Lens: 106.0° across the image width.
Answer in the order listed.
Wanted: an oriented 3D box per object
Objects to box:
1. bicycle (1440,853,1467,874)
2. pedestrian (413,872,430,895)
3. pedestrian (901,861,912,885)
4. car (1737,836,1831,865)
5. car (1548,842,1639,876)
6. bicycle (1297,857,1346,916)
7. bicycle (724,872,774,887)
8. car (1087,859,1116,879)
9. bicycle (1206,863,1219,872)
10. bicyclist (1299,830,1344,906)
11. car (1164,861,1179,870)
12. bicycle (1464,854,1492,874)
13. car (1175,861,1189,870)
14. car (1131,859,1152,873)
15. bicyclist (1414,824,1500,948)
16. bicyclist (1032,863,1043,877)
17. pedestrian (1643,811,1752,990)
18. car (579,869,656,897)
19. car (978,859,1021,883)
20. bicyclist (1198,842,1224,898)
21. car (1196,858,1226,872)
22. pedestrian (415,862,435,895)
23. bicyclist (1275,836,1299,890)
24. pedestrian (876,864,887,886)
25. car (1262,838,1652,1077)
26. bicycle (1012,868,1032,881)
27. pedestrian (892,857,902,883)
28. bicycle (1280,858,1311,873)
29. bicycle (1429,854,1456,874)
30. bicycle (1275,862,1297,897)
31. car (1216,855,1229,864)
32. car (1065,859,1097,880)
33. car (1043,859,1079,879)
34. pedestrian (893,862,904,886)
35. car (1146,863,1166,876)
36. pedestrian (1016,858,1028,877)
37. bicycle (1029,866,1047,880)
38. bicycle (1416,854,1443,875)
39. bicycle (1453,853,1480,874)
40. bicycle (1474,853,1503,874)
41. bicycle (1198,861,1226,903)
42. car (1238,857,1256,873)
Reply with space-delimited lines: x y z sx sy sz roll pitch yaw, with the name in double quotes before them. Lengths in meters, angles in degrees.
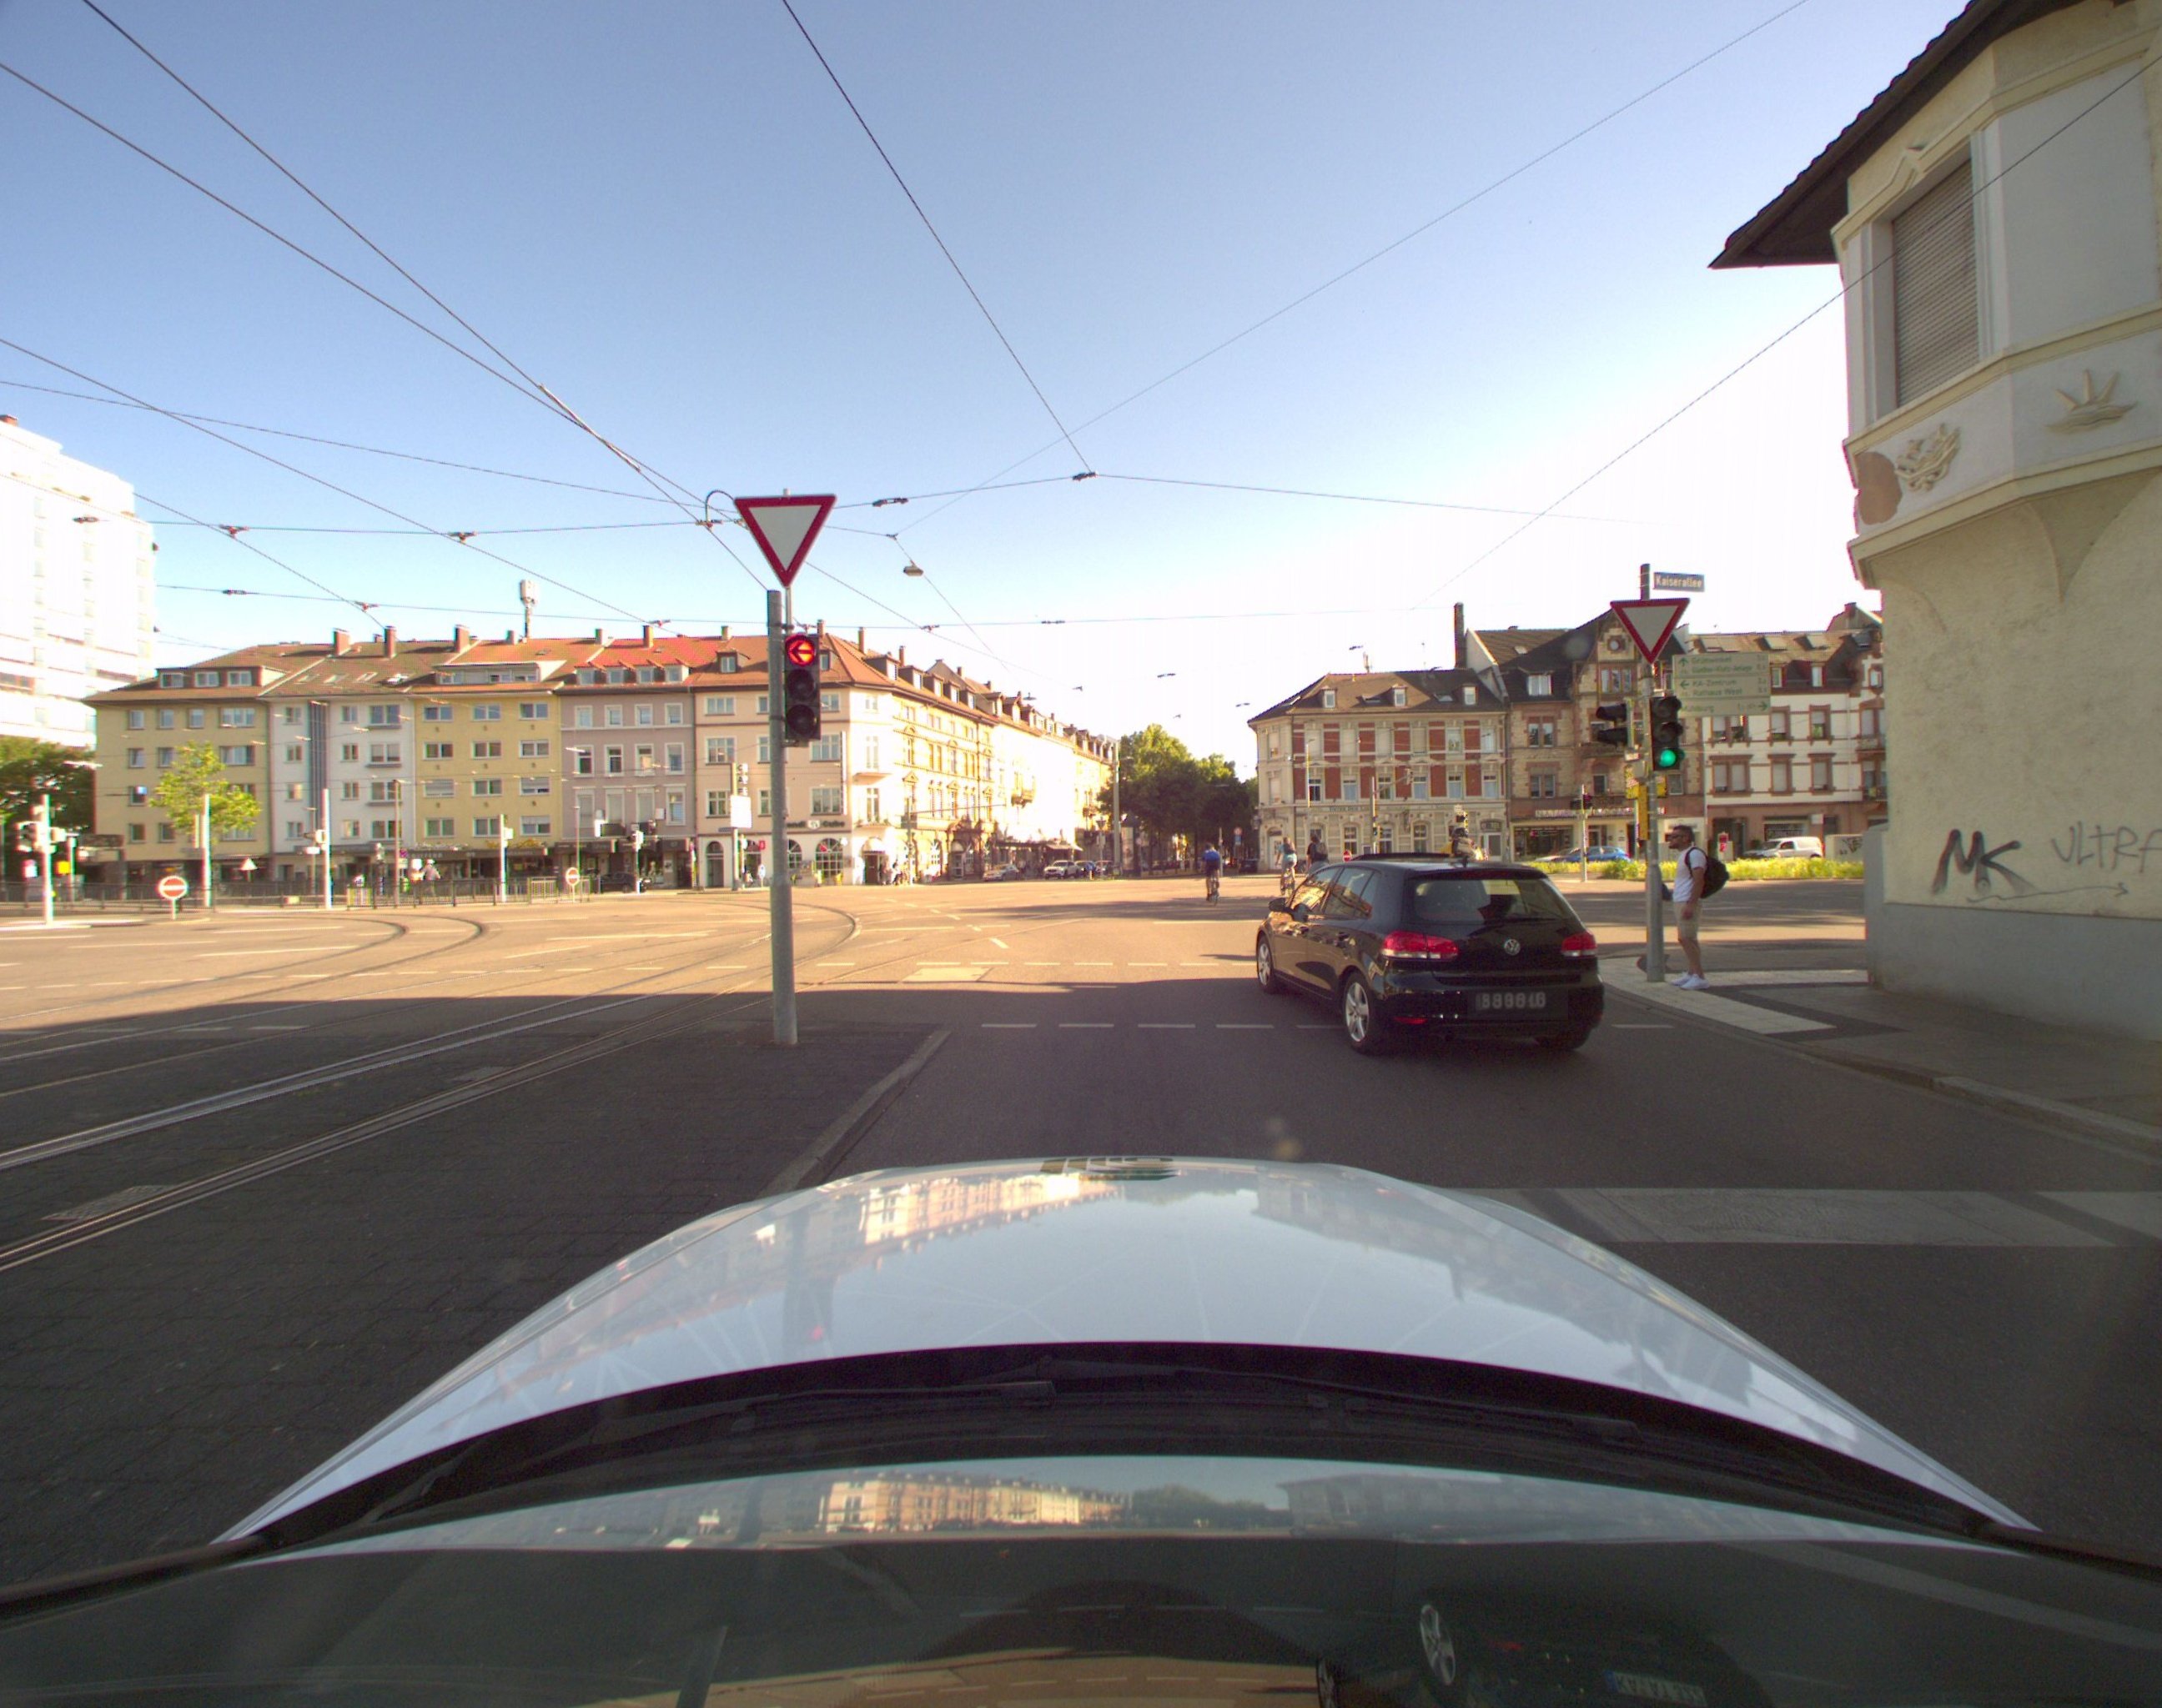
"bicycle" 23.982 0.609 52.421 0.626 1.287 2.663 0 -1 3
"pedestrian" -46.604 2.092 57.523 0.631 1.634 0.700 0 -1 -2
"pedestrian" -12.339 1.351 57.724 0.631 1.634 0.700 0 -1 -2
"car" 45.309 -0.220 52.575 4.349 1.778 2.000 0 -1 1
"car" 28.340 0.276 45.144 3.769 1.778 2.000 0 -1 1
"bicycle" 5.234 0.683 17.806 0.751 1.236 1.706 0 -1 7
"bicycle" -23.428 1.793 57.470 3.118 0.980 1.002 0 -1 1
"car" 2.063 1.412 79.924 1.979 1.904 4.015 -1 -1 14
"bicycle" 15.991 1.662 98.869 0.630 1.085 1.687 0 -1 -28
"bicyclist" 5.236 0.303 17.779 0.801 1.606 0.885 0 -1 7
"car" 14.675 1.828 131.824 1.546 1.513 3.673 -1 -1 19
"bicycle" 25.500 0.628 52.389 0.626 1.287 2.663 0 -1 3
"car" 16.871 1.862 135.743 1.546 1.513 3.673 -1 -1 19
"car" 8.394 1.634 112.698 1.977 1.904 4.019 -1 -1 19
"bicyclist" 5.259 0.433 11.437 0.802 1.663 0.884 0 -1 2
"bicyclist" -3.769 1.359 70.582 0.626 1.185 0.689 -1 -1 23
"pedestrian" 6.430 0.470 8.501 0.589 1.756 0.635 -5 -1 -37
"car" -30.591 1.920 53.821 3.962 1.670 2.006 -2 0 10
"car" -6.737 1.374 67.487 1.977 1.904 4.019 -1 -1 19
"bicyclist" 3.538 0.422 22.150 0.635 1.494 0.885 0 1 6
"car" 18.335 1.578 114.730 3.955 1.904 2.009 -1 -1 17
"pedestrian" -33.507 1.248 41.608 0.523 1.628 0.577 0 -1 0
"bicyclist" 6.305 0.283 24.966 0.684 1.633 0.887 -1 -1 14
"pedestrian" -13.911 1.460 56.818 0.631 1.477 0.465 0 -1 -2
"car" 2.870 0.632 7.269 1.722 1.508 4.053 0 1 2
"bicycle" -4.735 1.641 65.562 0.756 1.008 2.406 -1 -1 16
"pedestrian" -13.153 1.142 58.184 0.631 1.881 0.465 0 -1 -2
"bicycle" 14.982 0.802 56.903 2.040 0.998 0.631 -1 -1 4
"bicycle" 23.259 0.625 52.428 0.689 1.287 2.663 0 -1 3
"bicycle" 6.328 0.758 25.082 0.644 1.031 1.778 -1 -1 15
"car" 23.299 0.935 134.400 1.546 1.513 3.673 -1 -1 19
"car" 0.002 1.376 73.673 1.979 1.904 4.015 -1 -1 14
"car" -1.635 1.207 67.677 1.979 1.618 4.015 -1 -1 14
"pedestrian" -12.639 1.357 56.370 0.631 1.634 0.700 0 -1 -2
"car" 11.327 2.286 122.540 1.977 1.904 4.019 -1 -1 19
"pedestrian" -4.763 1.112 65.494 0.814 1.512 0.601 -1 -1 16
"bicycle" -3.746 1.652 70.678 0.644 1.123 2.265 -1 -1 23
"bicycle" 22.436 0.663 52.466 0.689 1.287 2.663 0 -1 3
"bicycle" 24.772 0.624 52.393 0.626 1.287 2.663 0 -1 3
"bicycle" 26.195 0.624 52.360 0.626 1.287 2.663 0 -1 3
"bicycle" 3.534 0.737 22.031 0.623 1.085 1.705 0 -1 5
"car" 16.815 1.123 82.368 1.680 1.565 3.855 -1 -1 14
